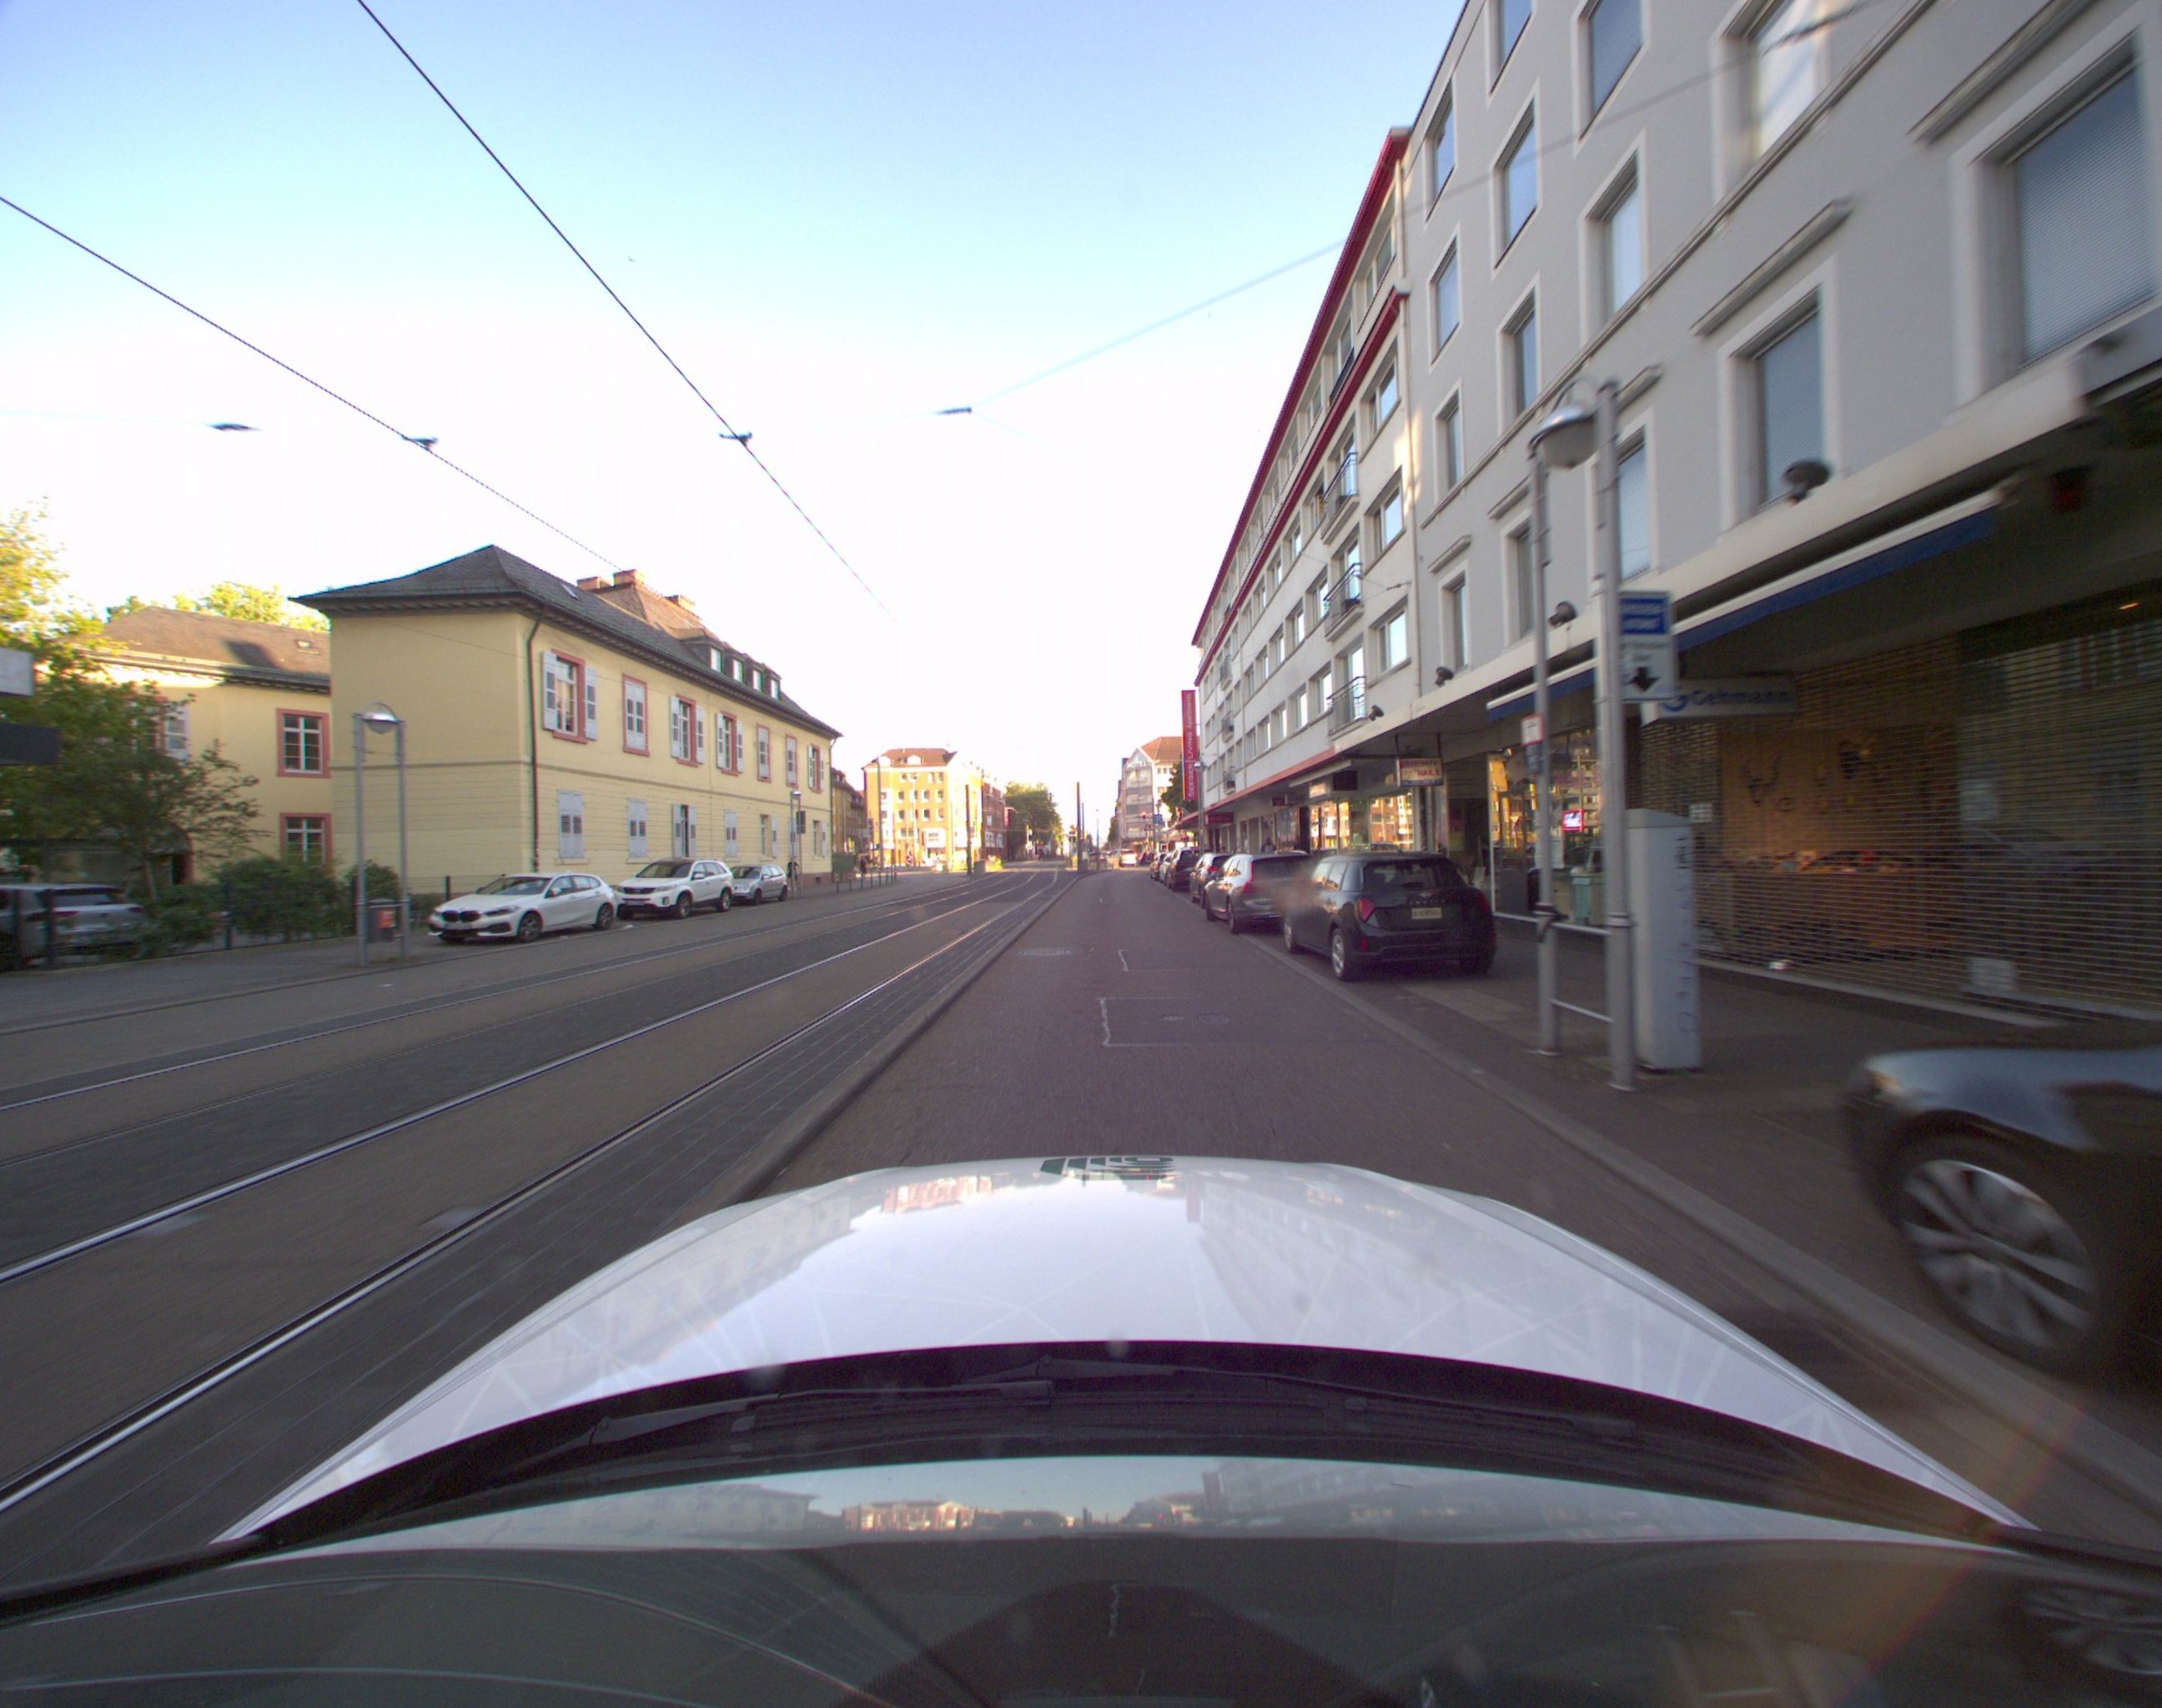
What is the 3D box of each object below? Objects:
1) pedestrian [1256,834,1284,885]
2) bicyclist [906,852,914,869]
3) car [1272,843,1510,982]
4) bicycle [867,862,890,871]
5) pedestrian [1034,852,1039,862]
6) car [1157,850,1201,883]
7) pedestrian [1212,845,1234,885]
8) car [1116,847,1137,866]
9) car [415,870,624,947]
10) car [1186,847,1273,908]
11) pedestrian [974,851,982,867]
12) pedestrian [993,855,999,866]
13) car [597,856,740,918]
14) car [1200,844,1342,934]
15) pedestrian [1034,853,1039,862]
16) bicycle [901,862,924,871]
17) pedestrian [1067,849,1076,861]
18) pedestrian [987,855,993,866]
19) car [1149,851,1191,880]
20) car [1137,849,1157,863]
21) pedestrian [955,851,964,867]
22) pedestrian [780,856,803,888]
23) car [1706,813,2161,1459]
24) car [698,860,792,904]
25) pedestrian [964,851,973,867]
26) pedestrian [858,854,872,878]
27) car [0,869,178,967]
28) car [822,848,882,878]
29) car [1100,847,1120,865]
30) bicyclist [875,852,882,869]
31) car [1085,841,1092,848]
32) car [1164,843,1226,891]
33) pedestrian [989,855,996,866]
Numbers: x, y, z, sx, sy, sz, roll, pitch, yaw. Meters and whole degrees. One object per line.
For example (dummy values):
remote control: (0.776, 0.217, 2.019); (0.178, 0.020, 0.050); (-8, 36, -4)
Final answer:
pedestrian: (7.058, 0.202, 30.501); (0.772, 1.880, 0.934); (-2, -1, 0)
bicyclist: (-20.410, 0.815, 97.225); (0.863, 2.014, 0.642); (0, -1, -19)
car: (3.769, 0.633, 10.671); (1.719, 1.481, 4.001); (0, 0, 2)
bicycle: (-24.253, 1.519, 97.457); (2.647, 1.099, 0.433); (0, -1, -18)
pedestrian: (-7.939, 0.592, 145.925); (0.802, 1.823, 0.704); (0, -1, 3)
car: (4.407, 0.562, 37.258); (1.645, 1.421, 4.192); (0, 0, 2)
pedestrian: (5.752, 0.446, 33.045); (0.730, 1.574, 0.967); (-2, 0, 1)
car: (4.201, 0.255, 75.236); (1.828, 1.636, 4.093); (-3, -2, 3)
car: (-12.515, 1.135, 18.544); (1.715, 1.453, 4.284); (0, 0, 1)
car: (4.000, 0.573, 22.579); (1.774, 1.522, 4.359); (0, 0, 2)
pedestrian: (-9.079, 0.459, 71.821); (0.662, 1.375, 0.651); (-2, 0, -1)
pedestrian: (-16.238, 1.264, 155.252); (1.090, 2.014, 1.162); (0, -1, -1)
car: (-12.245, 0.919, 24.585); (1.880, 1.661, 4.760); (0, 0, 0)
car: (3.601, 0.611, 16.337); (1.785, 1.533, 4.857); (0, 0, 1)
pedestrian: (-7.948, 0.676, 145.095); (0.801, 1.664, 0.704); (0, -1, 5)
bicycle: (-20.176, 1.518, 97.296); (2.647, 1.099, 0.433); (0, -1, -18)
pedestrian: (-1.093, 0.119, 94.267); (0.900, 1.375, 0.853); (-2, 0, -1)
pedestrian: (-16.751, 1.227, 149.879); (1.090, 2.014, 0.908); (0, -1, -1)
car: (4.587, 0.588, 42.402); (1.783, 1.413, 4.688); (0, 0, 1)
car: (7.001, 0.180, 86.745); (1.759, 1.440, 3.999); (-2, 0, 0)
pedestrian: (-10.628, 0.477, 71.357); (0.662, 1.375, 0.651); (-2, 0, -1)
pedestrian: (-14.149, 0.869, 39.824); (0.796, 1.542, 0.878); (0, -1, 3)
car: (3.394, 0.660, 1.308); (1.758, 1.513, 4.073); (0, 0, 2)
car: (-12.378, 0.993, 30.252); (1.742, 1.474, 4.001); (0, 1, 1)
pedestrian: (-9.869, 0.468, 71.467); (0.662, 1.375, 0.651); (-1, 0, -1)
pedestrian: (-14.536, 0.795, 54.796); (0.717, 1.536, 0.718); (-2, 0, -3)
car: (-18.685, 1.048, 14.050); (3.975, 1.553, 1.913); (0, 0, -1)
car: (-16.460, 0.634, 58.730); (3.994, 2.013, 1.990); (-2, 0, -15)
car: (3.065, 0.234, 86.164); (1.986, 1.596, 4.001); (-5, -2, 2)
bicyclist: (-24.236, 0.743, 97.476); (0.862, 2.014, 0.642); (0, -1, -18)
car: (2.180, -2.795, 233.950); (1.985, 1.901, 4.003); (0, 0, 3)
car: (4.281, 0.481, 31.082); (1.849, 1.701, 4.419); (0, 0, 1)
pedestrian: (-16.417, 1.270, 151.362); (1.090, 2.014, 0.908); (0, -1, -1)
